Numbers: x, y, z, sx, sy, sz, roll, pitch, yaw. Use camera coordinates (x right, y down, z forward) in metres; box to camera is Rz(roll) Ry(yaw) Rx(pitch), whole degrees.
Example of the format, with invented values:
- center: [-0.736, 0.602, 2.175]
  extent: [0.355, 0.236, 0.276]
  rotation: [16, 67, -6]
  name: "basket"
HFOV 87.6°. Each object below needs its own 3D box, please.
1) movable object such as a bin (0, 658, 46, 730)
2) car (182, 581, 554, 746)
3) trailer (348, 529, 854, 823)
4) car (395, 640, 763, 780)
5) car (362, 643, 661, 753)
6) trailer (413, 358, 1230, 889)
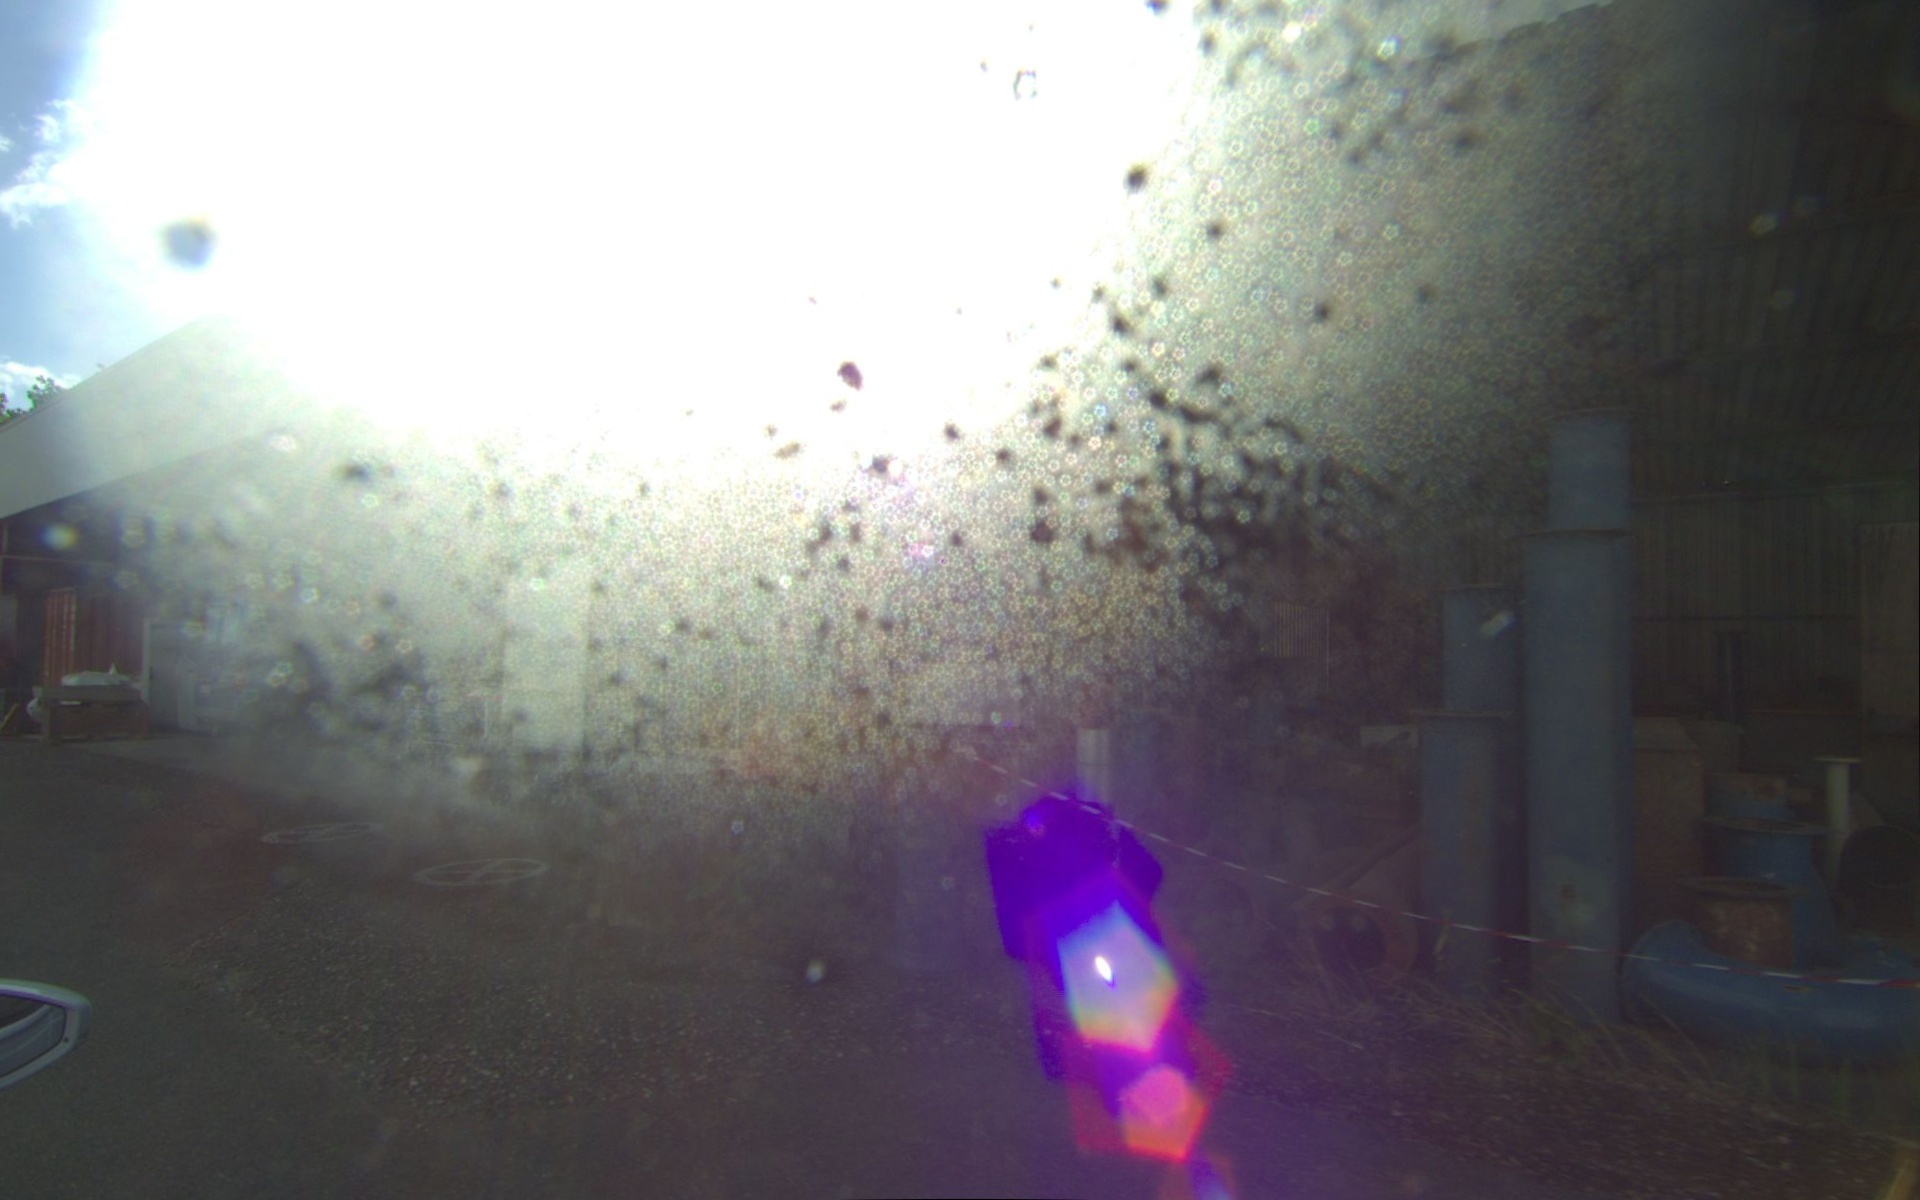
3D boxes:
- center: [-16.289, 1.606, 17.278]
  extent: [1.224, 1.179, 0.579]
  rotation: [-1, -3, 40]
  name: "movable object such as a bin"
- center: [-9.701, 1.069, 16.863]
  extent: [1.974, 2.354, 4.967]
  rotation: [-1, -4, 36]
  name: "car"
- center: [-3.516, 0.772, 10.695]
  extent: [1.806, 2.420, 4.793]
  rotation: [-1, -4, 40]
  name: "trailer"
- center: [-4.775, 1.337, 13.201]
  extent: [1.753, 1.514, 4.322]
  rotation: [-1, -4, 33]
  name: "car"
- center: [-6.867, 1.460, 15.749]
  extent: [1.762, 1.490, 3.983]
  rotation: [-1, -4, 31]
  name: "car"
- center: [-0.184, 0.429, 11.046]
  extent: [2.816, 3.255, 10.014]
  rotation: [-1, -4, 36]
  name: "trailer"
